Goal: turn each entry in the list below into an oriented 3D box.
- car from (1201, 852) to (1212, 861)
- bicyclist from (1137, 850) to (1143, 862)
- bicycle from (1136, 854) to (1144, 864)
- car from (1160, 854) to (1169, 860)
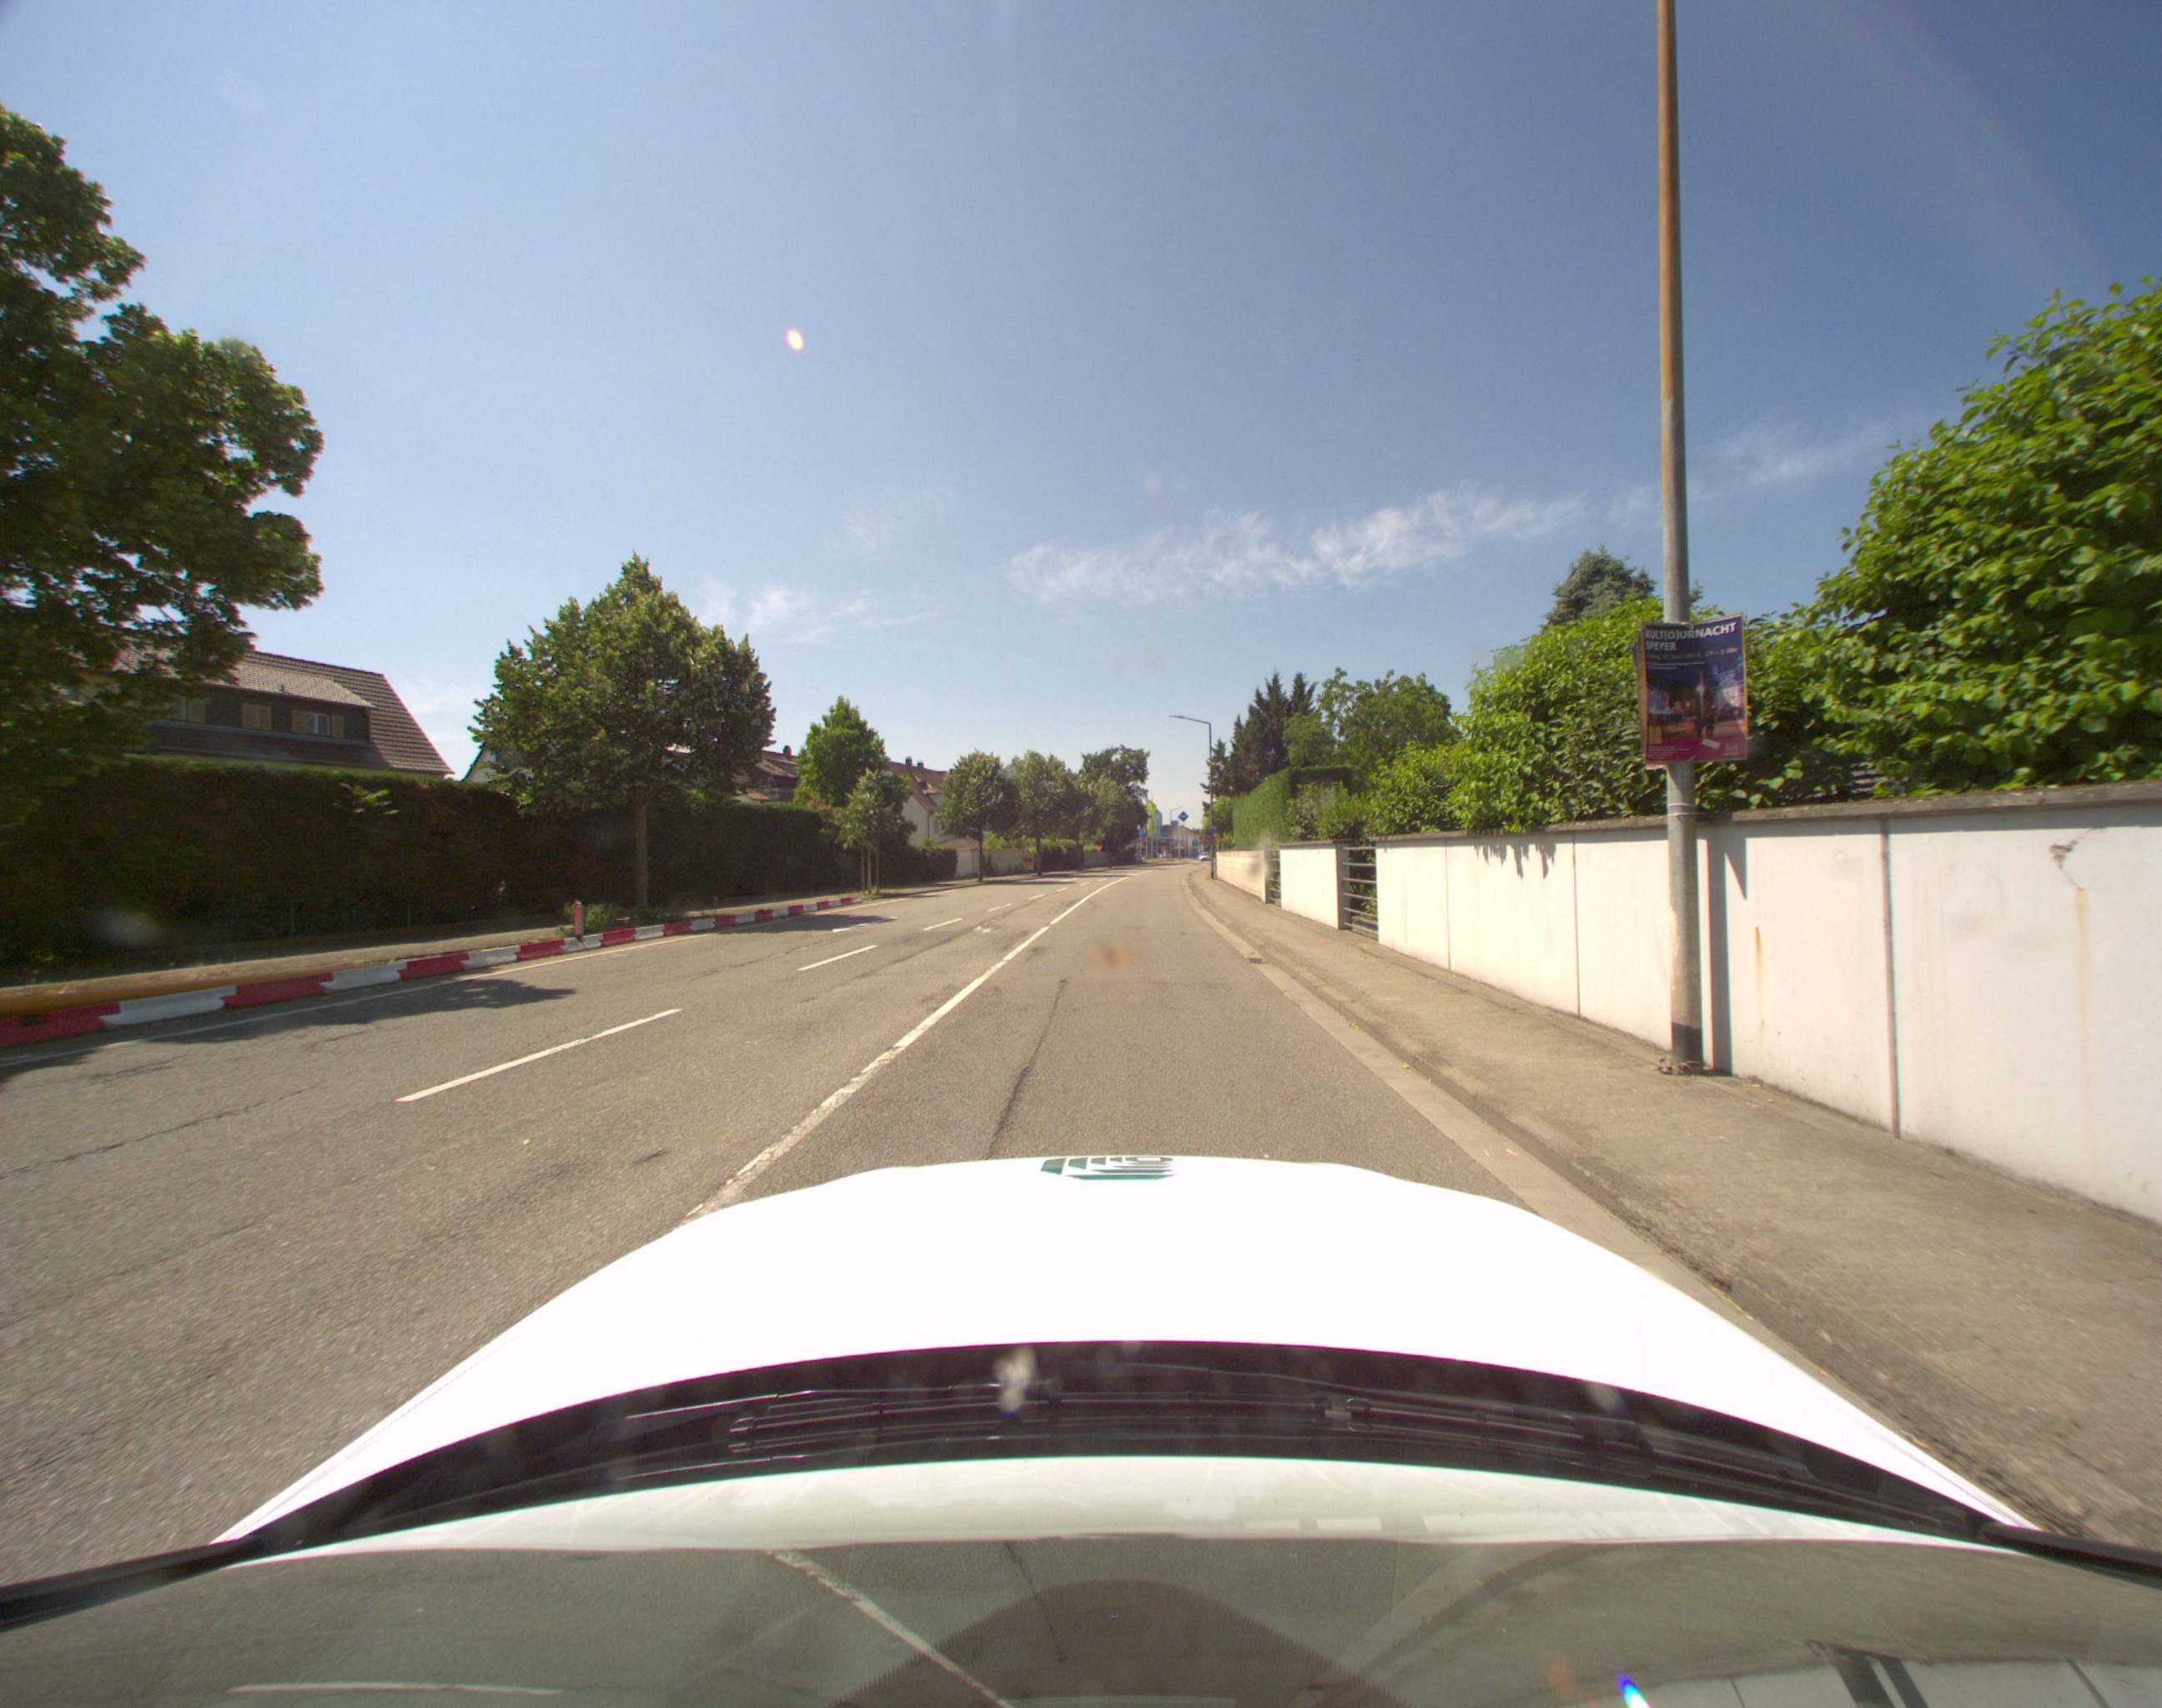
[{"bbox_3d":[21.273,0.458,138.302,1.601,1.482,3.720,-1,0,13],"label":"car"},{"bbox_3d":[7.055,0.206,97.877,0.624,1.408,0.679,-2,0,12],"label":"bicyclist"},{"bbox_3d":[7.074,0.637,97.910,0.628,1.180,1.822,-2,0,12],"label":"bicycle"},{"bbox_3d":[19.021,0.705,184.914,1.606,1.420,3.724,-3,0,12],"label":"car"}]
